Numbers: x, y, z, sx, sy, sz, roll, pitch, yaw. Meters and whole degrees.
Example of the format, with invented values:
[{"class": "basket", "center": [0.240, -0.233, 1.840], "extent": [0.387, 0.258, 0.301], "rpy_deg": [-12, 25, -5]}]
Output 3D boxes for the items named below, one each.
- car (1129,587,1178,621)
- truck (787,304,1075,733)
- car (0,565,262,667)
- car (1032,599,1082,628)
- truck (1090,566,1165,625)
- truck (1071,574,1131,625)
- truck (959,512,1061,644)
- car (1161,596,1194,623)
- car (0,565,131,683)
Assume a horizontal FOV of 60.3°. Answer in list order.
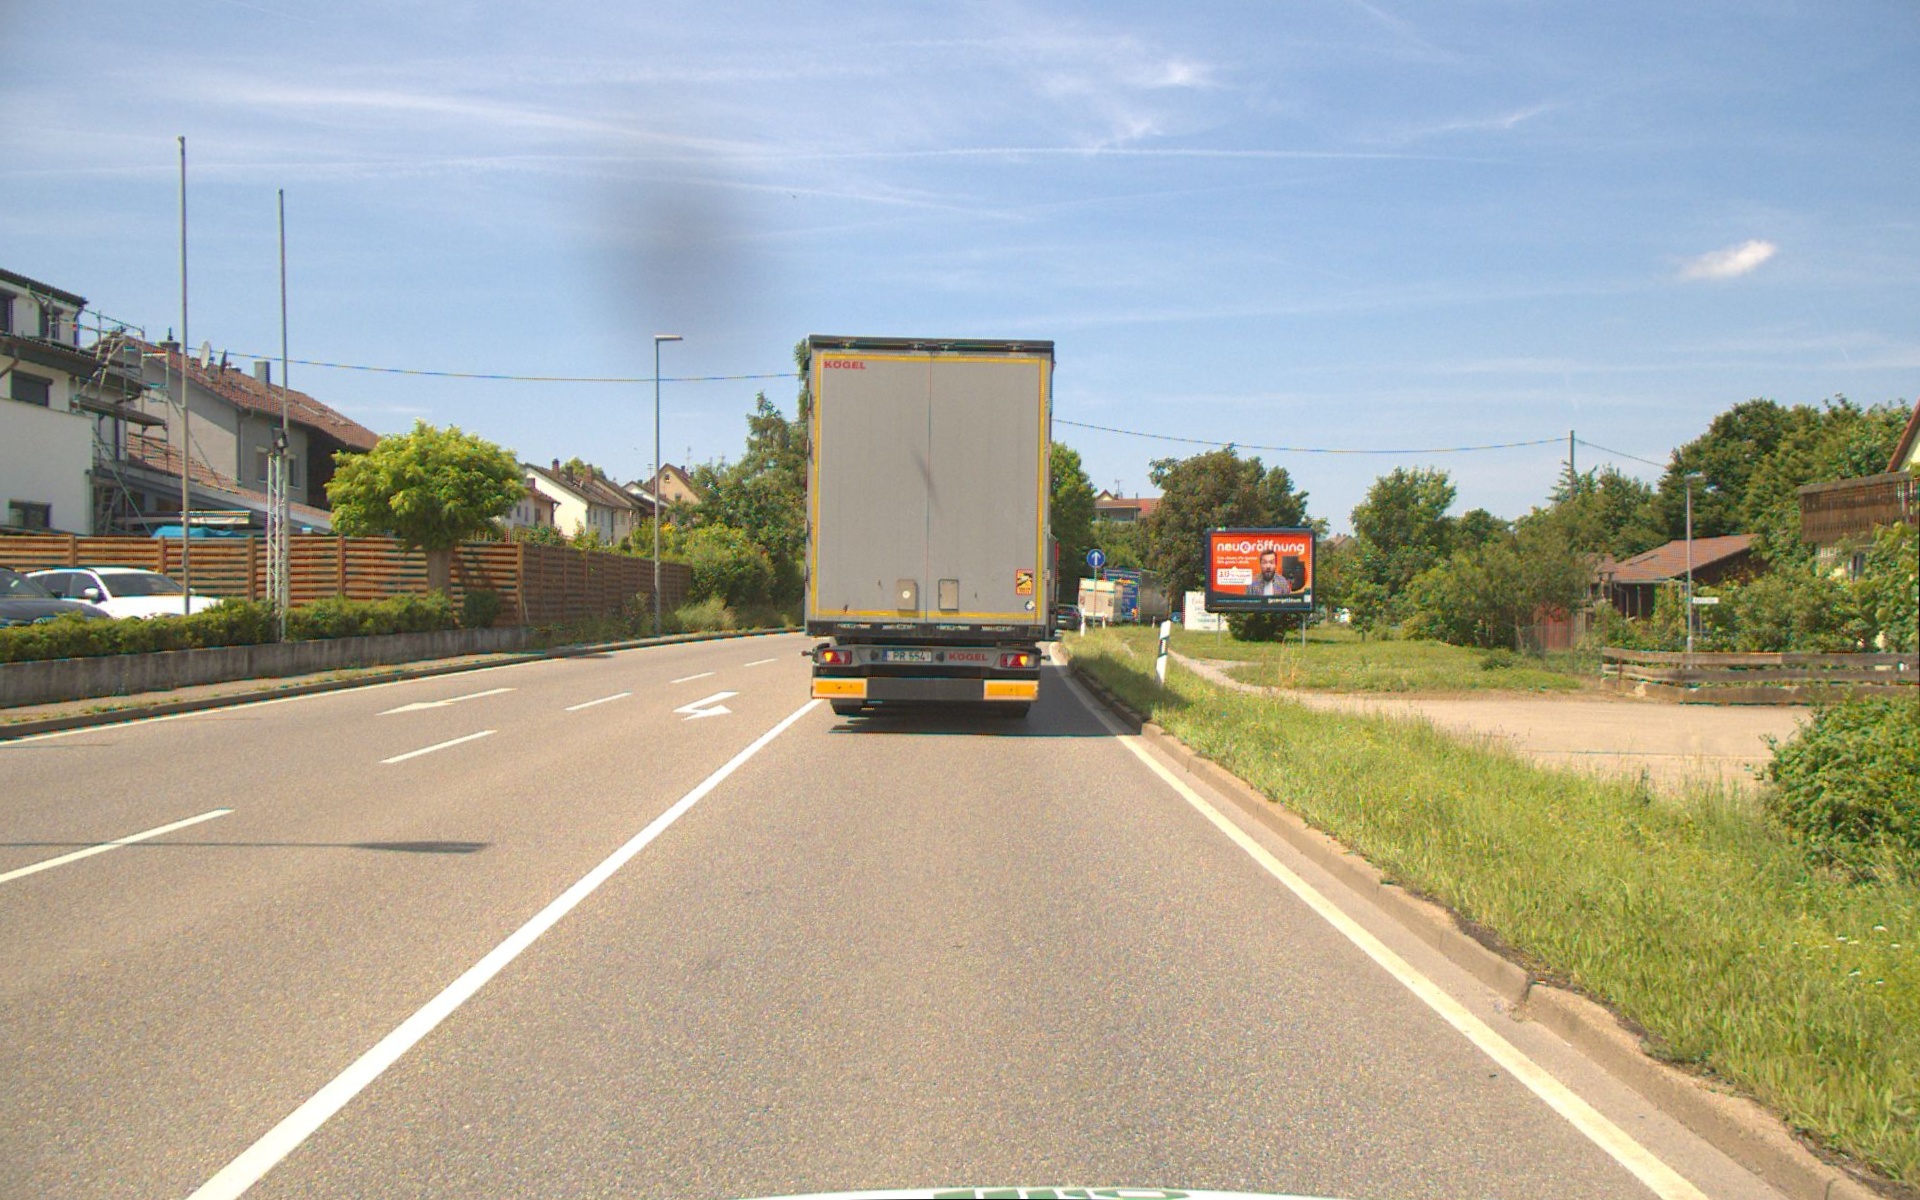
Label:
[{"class": "car", "center": [13.965, 0.276, 119.010], "extent": [2.478, 2.317, 6.385], "rpy_deg": [1, 0, 16]}, {"class": "truck", "center": [-0.335, -0.820, 22.205], "extent": [2.764, 4.200, 11.442], "rpy_deg": [2, 0, -1]}, {"class": "car", "center": [-13.436, 0.236, 26.383], "extent": [4.242, 1.473, 1.855], "rpy_deg": [1, -1, 25]}, {"class": "car", "center": [5.032, 0.723, 85.362], "extent": [1.951, 1.400, 4.003], "rpy_deg": [1, -1, 12]}, {"class": "truck", "center": [11.224, -0.330, 110.089], "extent": [3.360, 3.667, 9.360], "rpy_deg": [1, 1, 16]}, {"class": "truck", "center": [8.407, 0.009, 98.216], "extent": [2.489, 2.852, 6.036], "rpy_deg": [1, -1, 15]}, {"class": "truck", "center": [2.174, -0.633, 63.749], "extent": [2.702, 4.364, 16.425], "rpy_deg": [1, -1, 6]}, {"class": "car", "center": [17.280, 0.739, 131.078], "extent": [1.951, 2.049, 4.002], "rpy_deg": [1, -1, 16]}, {"class": "car", "center": [-13.536, 0.281, 22.380], "extent": [4.242, 1.473, 1.897], "rpy_deg": [1, -1, 25]}]
